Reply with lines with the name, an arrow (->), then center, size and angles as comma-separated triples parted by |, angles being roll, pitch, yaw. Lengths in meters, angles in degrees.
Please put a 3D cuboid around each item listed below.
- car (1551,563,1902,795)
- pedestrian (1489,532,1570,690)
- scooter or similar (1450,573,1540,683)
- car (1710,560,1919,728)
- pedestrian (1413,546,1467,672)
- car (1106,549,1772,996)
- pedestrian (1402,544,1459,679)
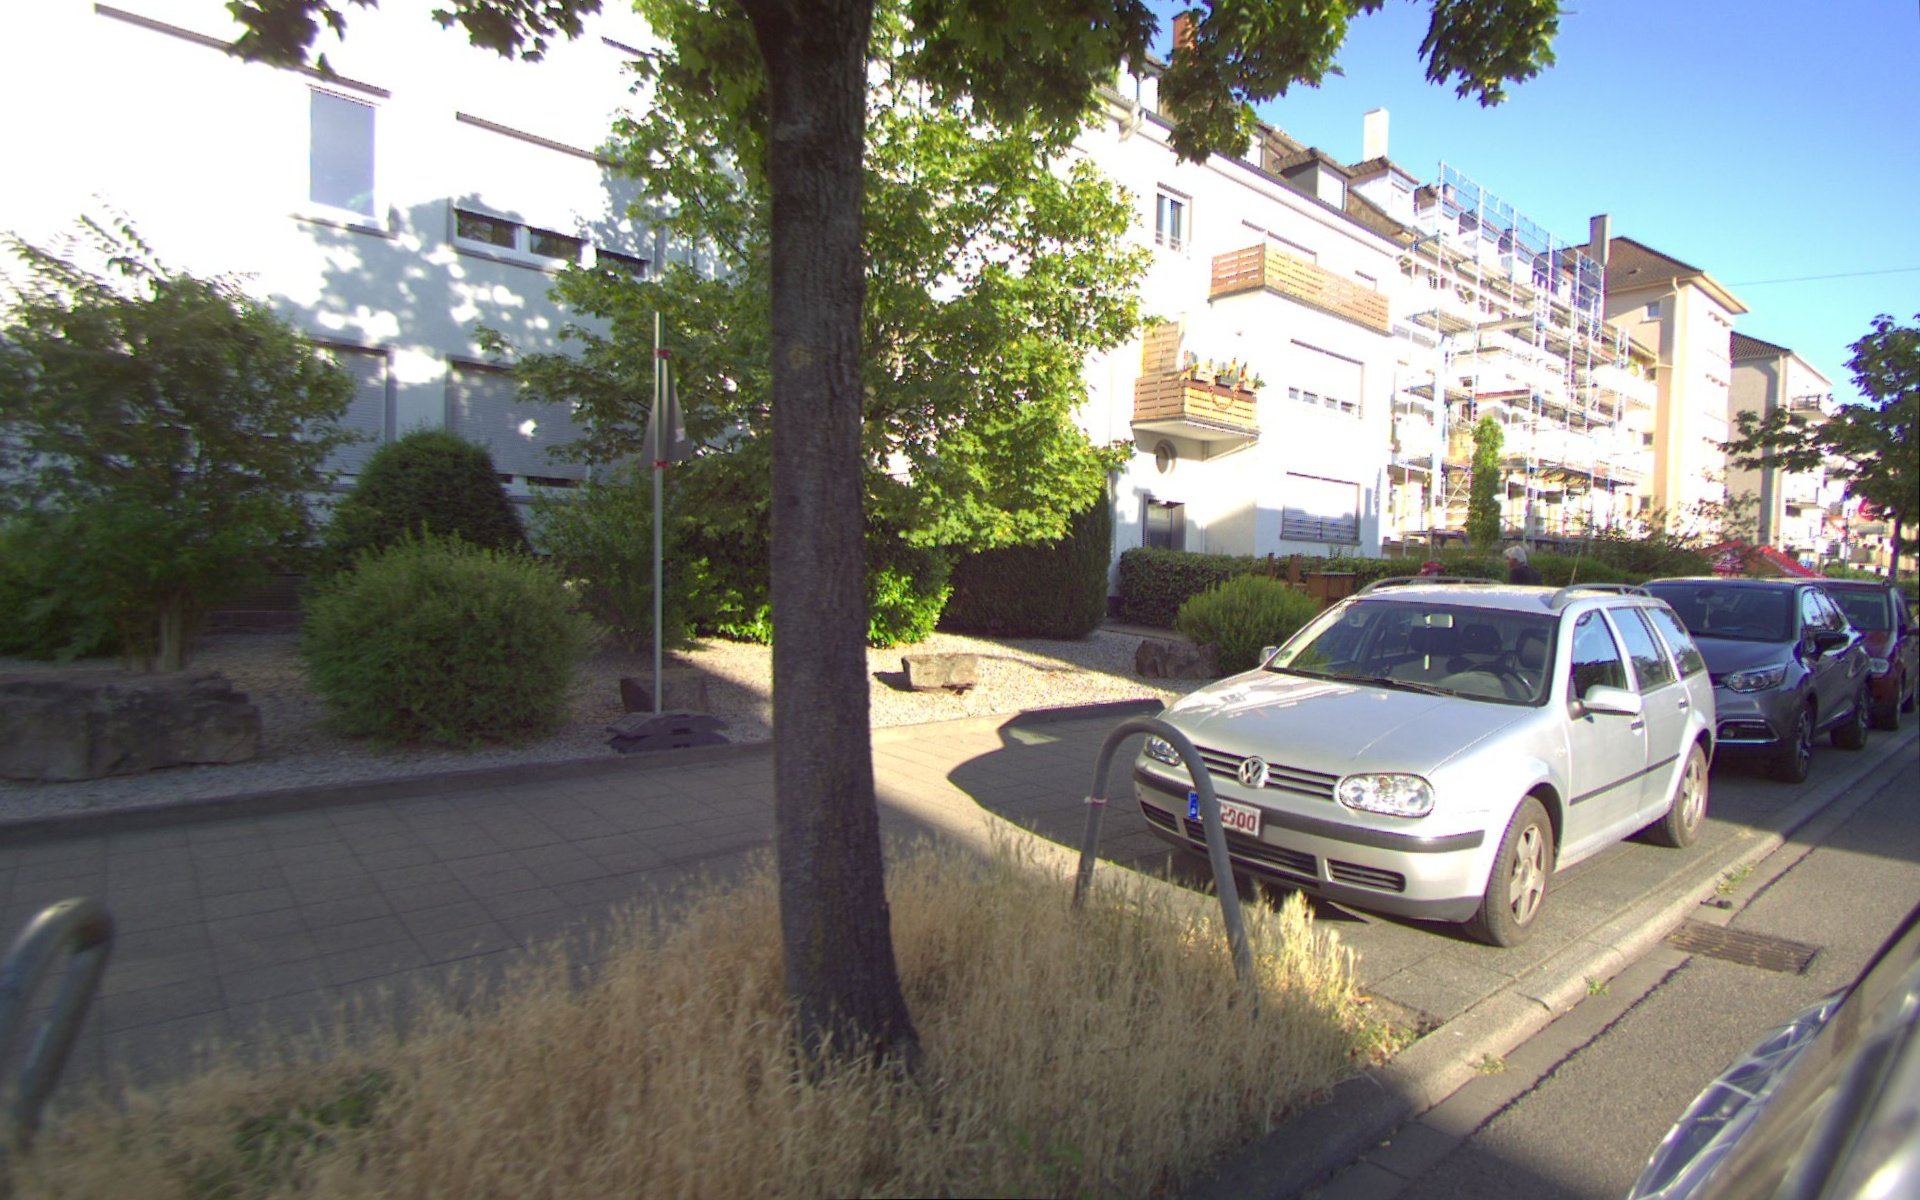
car -> 6.921, 0.522, 8.993 | 3.930, 1.587, 1.640 | 0, 3, -41
pedestrian -> 7.007, 0.125, 12.453 | 0.749, 1.872, 0.550 | 0, 1, -34
scooter or similar -> 6.780, 0.338, 12.833 | 0.707, 1.333, 0.749 | 0, 1, -34
car -> 10.648, 0.405, 12.283 | 4.521, 1.676, 1.723 | 0, 2, -44
pedestrian -> 6.678, 0.115, 14.090 | 0.510, 1.718, 0.519 | 2, 1, 45
car -> 2.863, 0.550, 5.504 | 4.338, 1.508, 1.640 | 0, 3, -41
pedestrian -> 6.175, 0.136, 13.282 | 0.510, 1.718, 0.519 | 2, 1, 45
